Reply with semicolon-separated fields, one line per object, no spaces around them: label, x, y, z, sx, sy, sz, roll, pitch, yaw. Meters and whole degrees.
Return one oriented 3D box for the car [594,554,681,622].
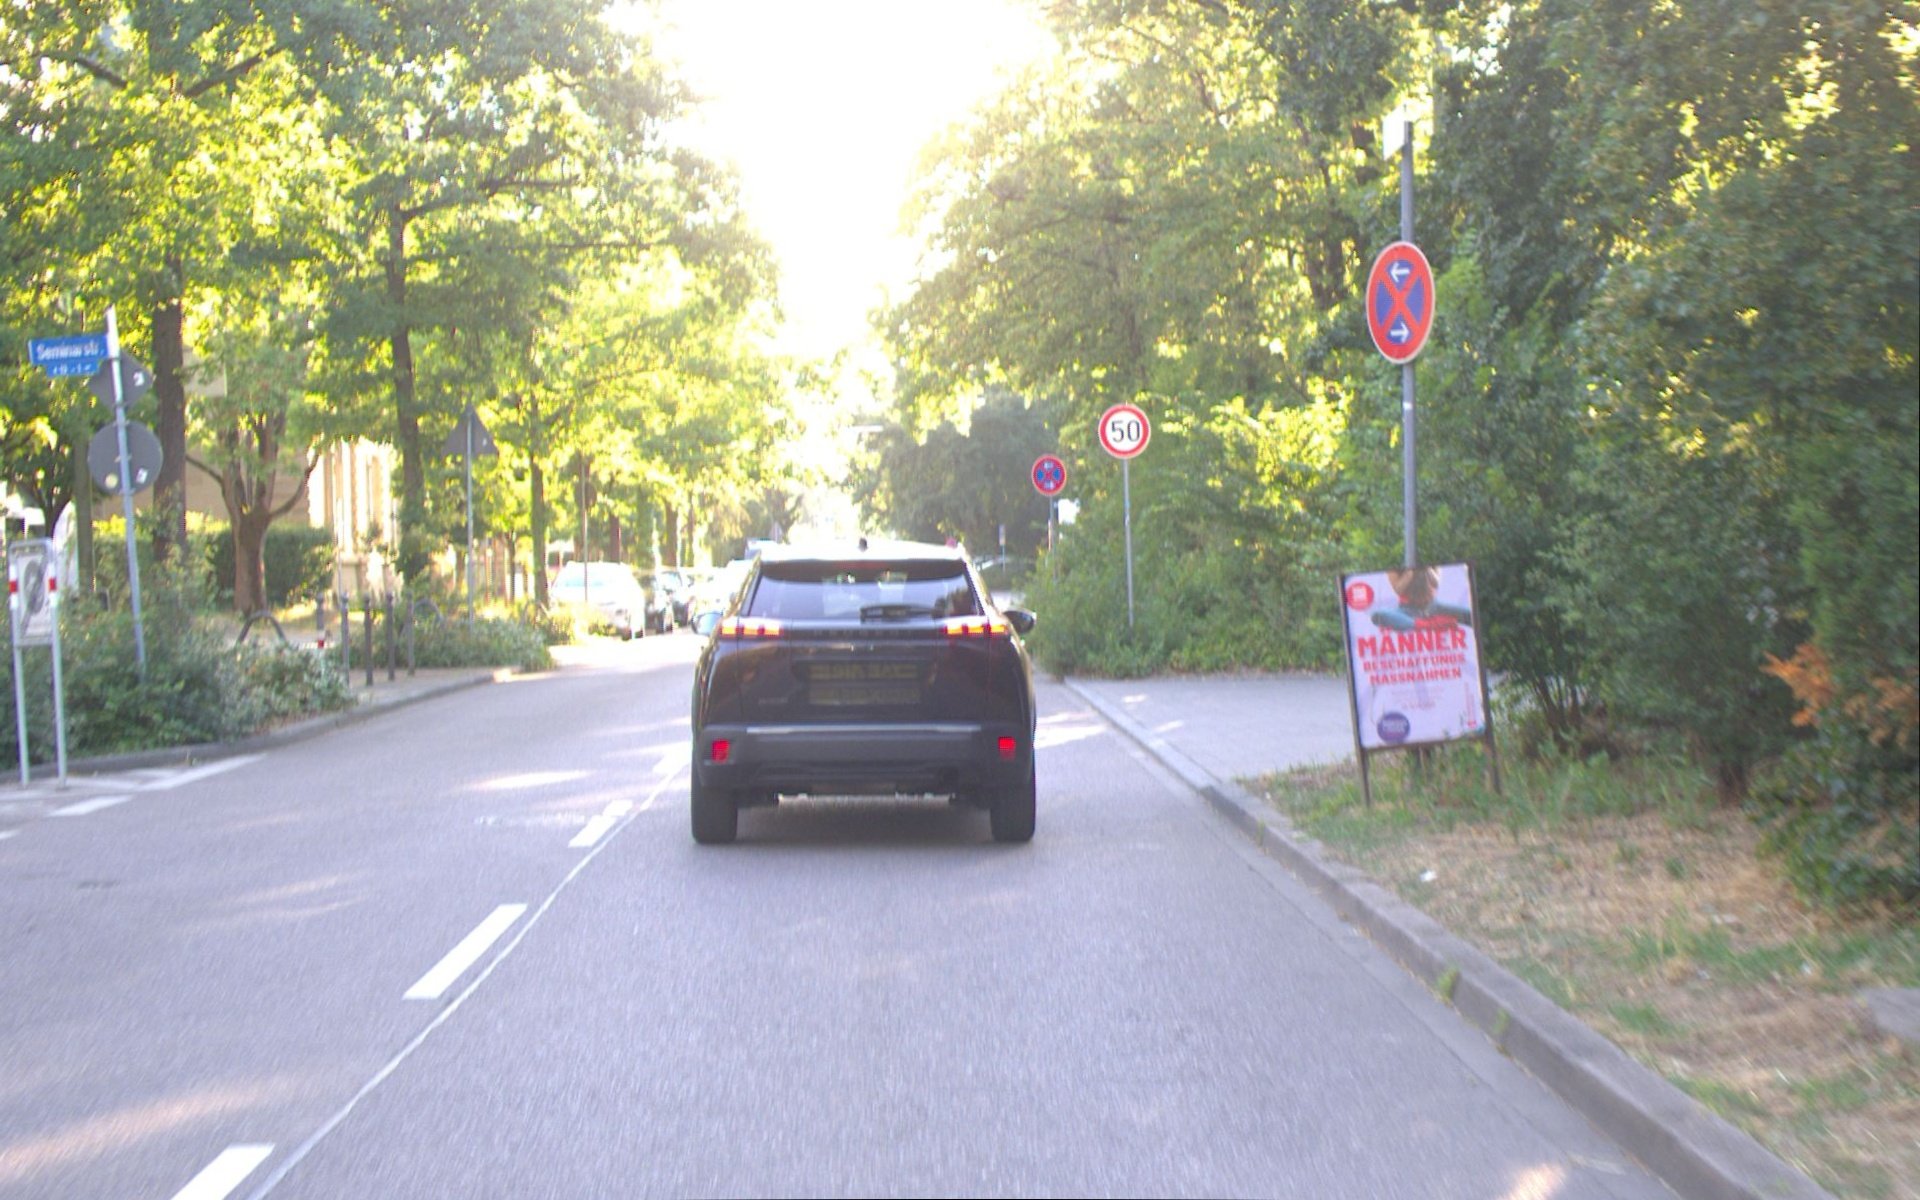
car;-7.060;-0.294;75.457;1.810;1.349;4.001;-2;1;-5

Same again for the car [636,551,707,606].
car;-7.752;-0.596;92.499;1.810;1.349;4.001;-2;1;-5

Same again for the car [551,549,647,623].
car;-7.261;-0.298;69.208;1.810;1.349;4.001;-2;1;-6

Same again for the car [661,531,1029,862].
car;-0.587;0.437;18.497;1.768;1.563;3.381;-1;1;-1

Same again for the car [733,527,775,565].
car;-10.421;-2.730;174.275;1.907;1.861;3.949;-2;1;-1

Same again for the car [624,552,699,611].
car;-7.520;-0.475;86.783;1.810;1.349;4.001;-2;1;-5
